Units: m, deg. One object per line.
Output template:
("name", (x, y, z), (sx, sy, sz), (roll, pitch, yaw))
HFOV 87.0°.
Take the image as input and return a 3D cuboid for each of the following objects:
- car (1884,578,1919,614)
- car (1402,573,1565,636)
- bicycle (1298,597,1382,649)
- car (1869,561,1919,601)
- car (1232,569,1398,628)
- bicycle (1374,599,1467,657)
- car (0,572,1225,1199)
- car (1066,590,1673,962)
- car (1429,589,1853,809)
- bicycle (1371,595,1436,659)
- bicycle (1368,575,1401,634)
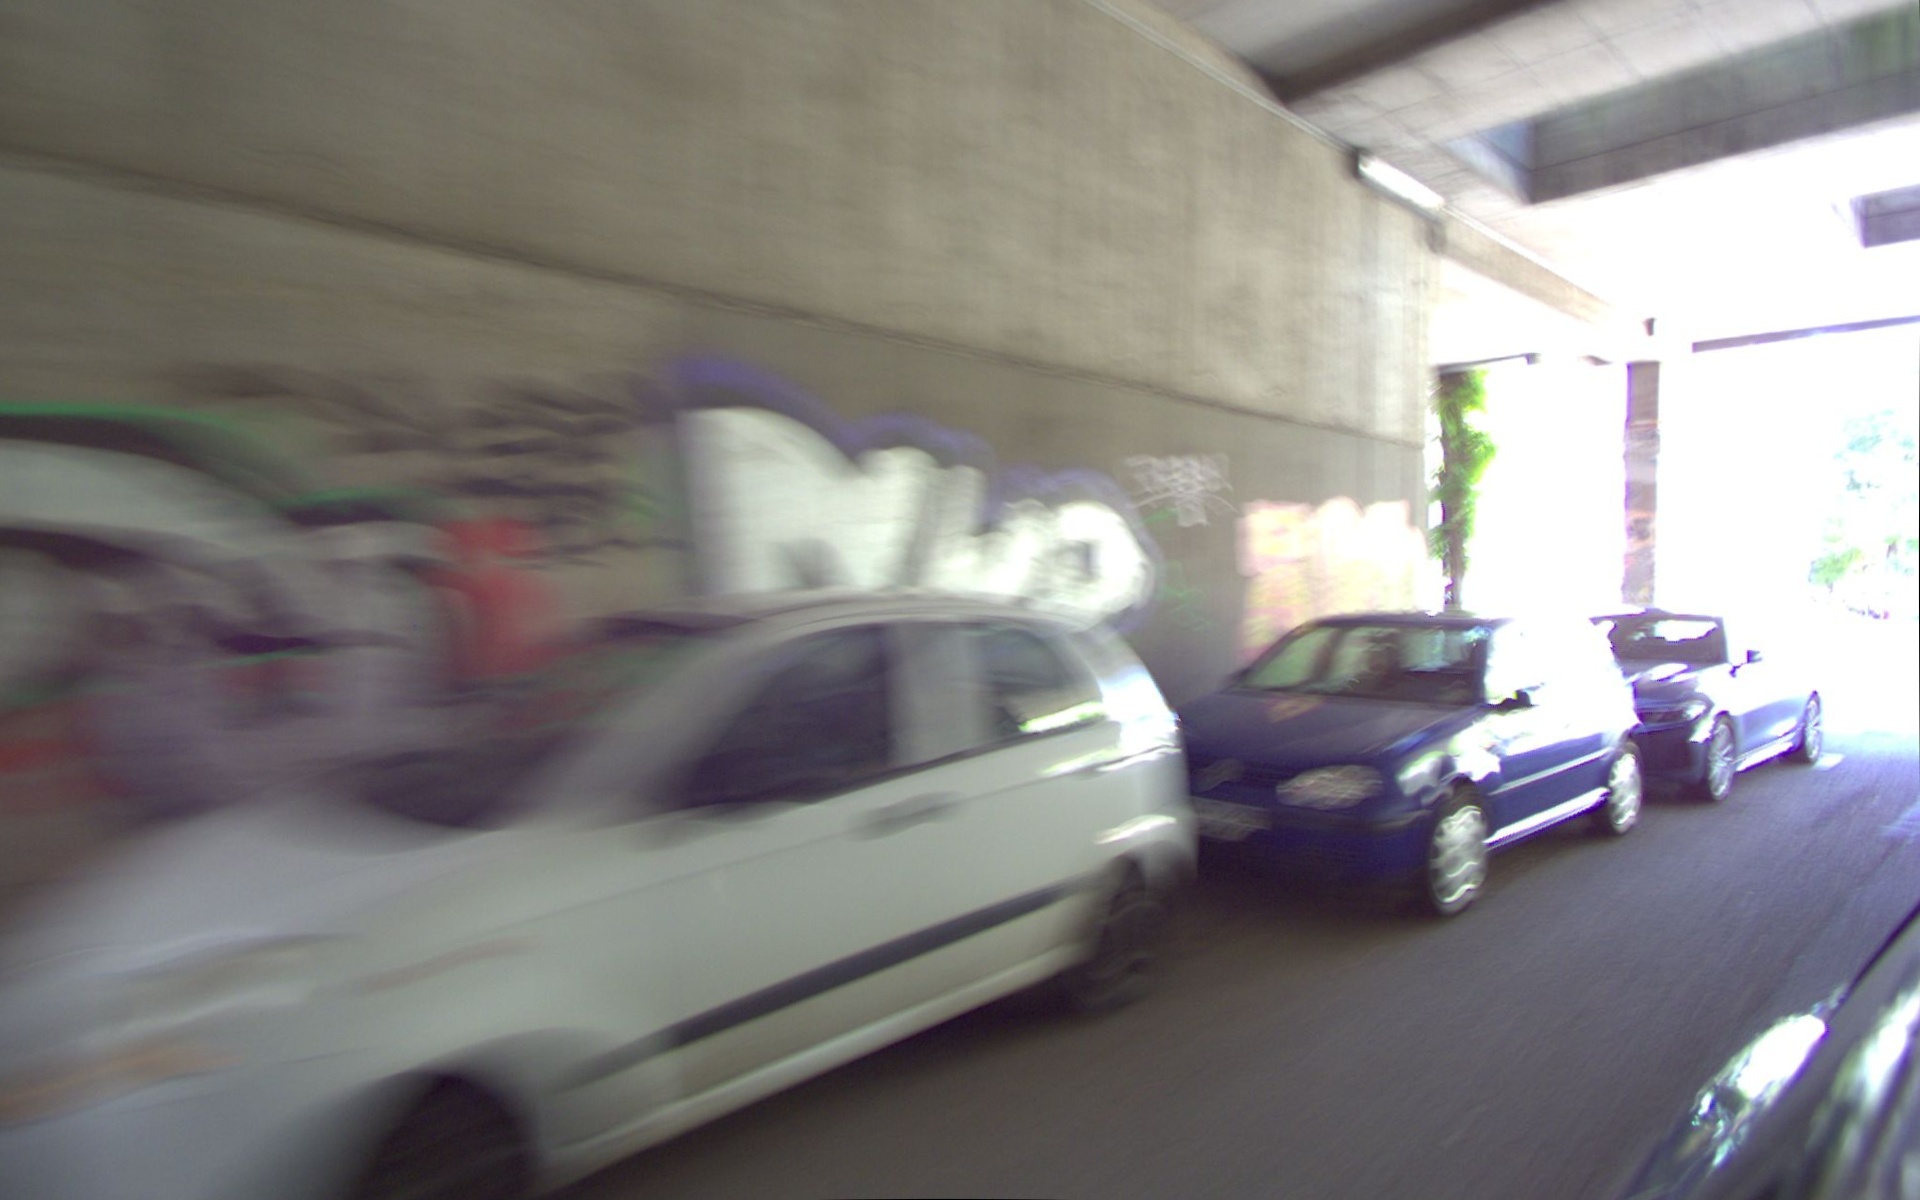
("car", (42.080, -0.124, 44.523), (1.771, 1.458, 3.943), (5, 3, 39))
("car", (13.961, 0.067, 27.080), (1.696, 1.537, 3.525), (-2, 3, -42))
("bicycle", (8.074, 0.477, 21.578), (0.407, 1.014, 1.804), (3, 0, -30))
("car", (51.082, -0.999, 55.202), (1.988, 2.055, 4.241), (1, 0, 40))
("car", (10.751, -0.109, 30.937), (1.841, 1.648, 4.500), (-2, 2, -39))
("bicycle", (9.054, 0.527, 19.968), (0.406, 1.044, 1.806), (3, 0, -24))
("car", (-0.782, 0.668, 3.298), (3.579, 1.506, 1.604), (-1, 2, -45))
("car", (2.636, 0.687, 6.045), (3.993, 1.428, 1.764), (-1, 2, -41))
("car", (6.194, 0.658, 8.992), (4.524, 1.451, 1.855), (-1, 0, -39))
("bicycle", (7.635, 0.442, 17.398), (0.482, 1.013, 1.775), (3, 2, 41))
("bicycle", (7.767, 0.082, 18.501), (0.411, 1.013, 1.602), (2, 1, 27))
